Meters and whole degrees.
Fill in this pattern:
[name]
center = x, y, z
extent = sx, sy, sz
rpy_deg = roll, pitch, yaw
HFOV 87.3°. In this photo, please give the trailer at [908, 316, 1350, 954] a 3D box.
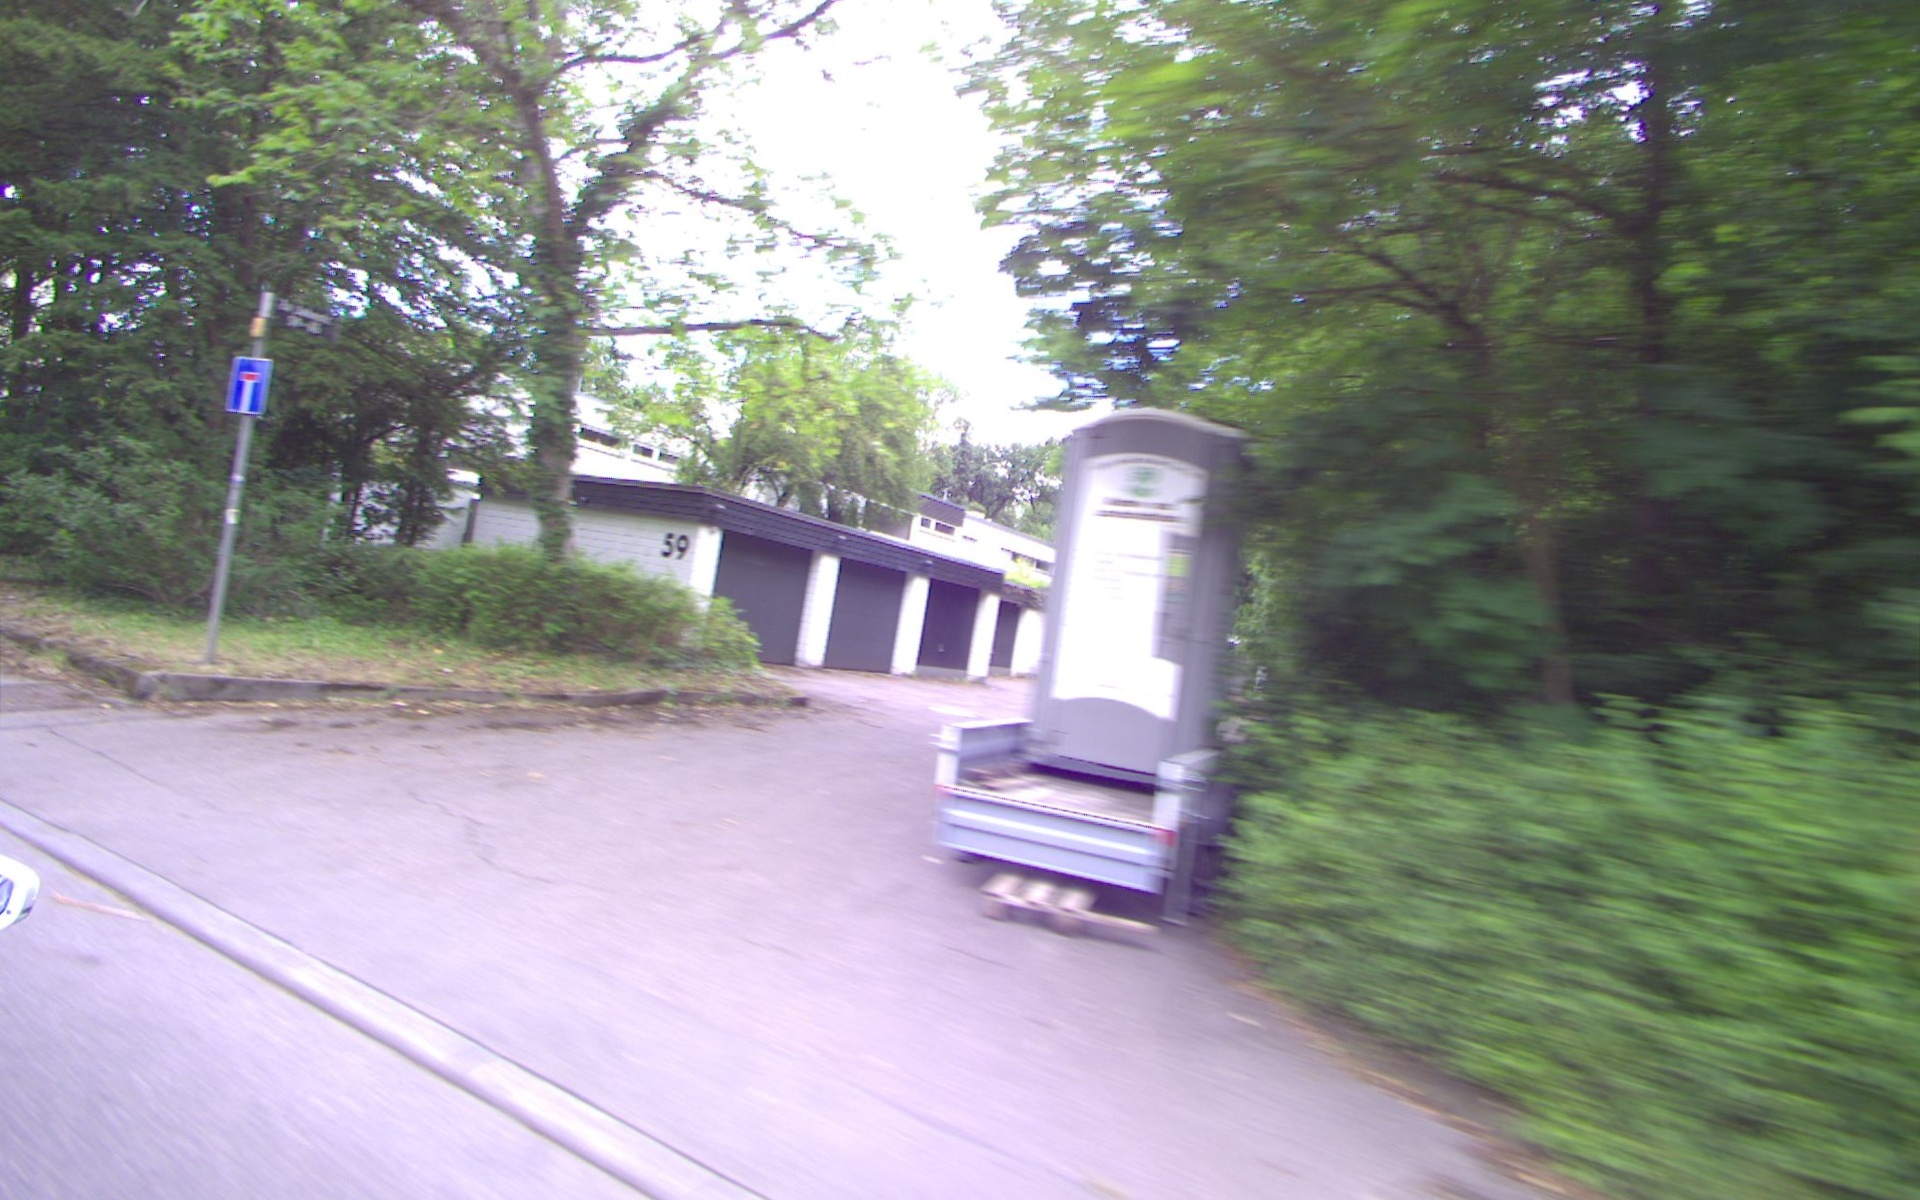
[trailer]
center = 1.281, 0.163, 6.347
extent = 1.565, 2.937, 3.121
rpy_deg = 7, 1, 27
